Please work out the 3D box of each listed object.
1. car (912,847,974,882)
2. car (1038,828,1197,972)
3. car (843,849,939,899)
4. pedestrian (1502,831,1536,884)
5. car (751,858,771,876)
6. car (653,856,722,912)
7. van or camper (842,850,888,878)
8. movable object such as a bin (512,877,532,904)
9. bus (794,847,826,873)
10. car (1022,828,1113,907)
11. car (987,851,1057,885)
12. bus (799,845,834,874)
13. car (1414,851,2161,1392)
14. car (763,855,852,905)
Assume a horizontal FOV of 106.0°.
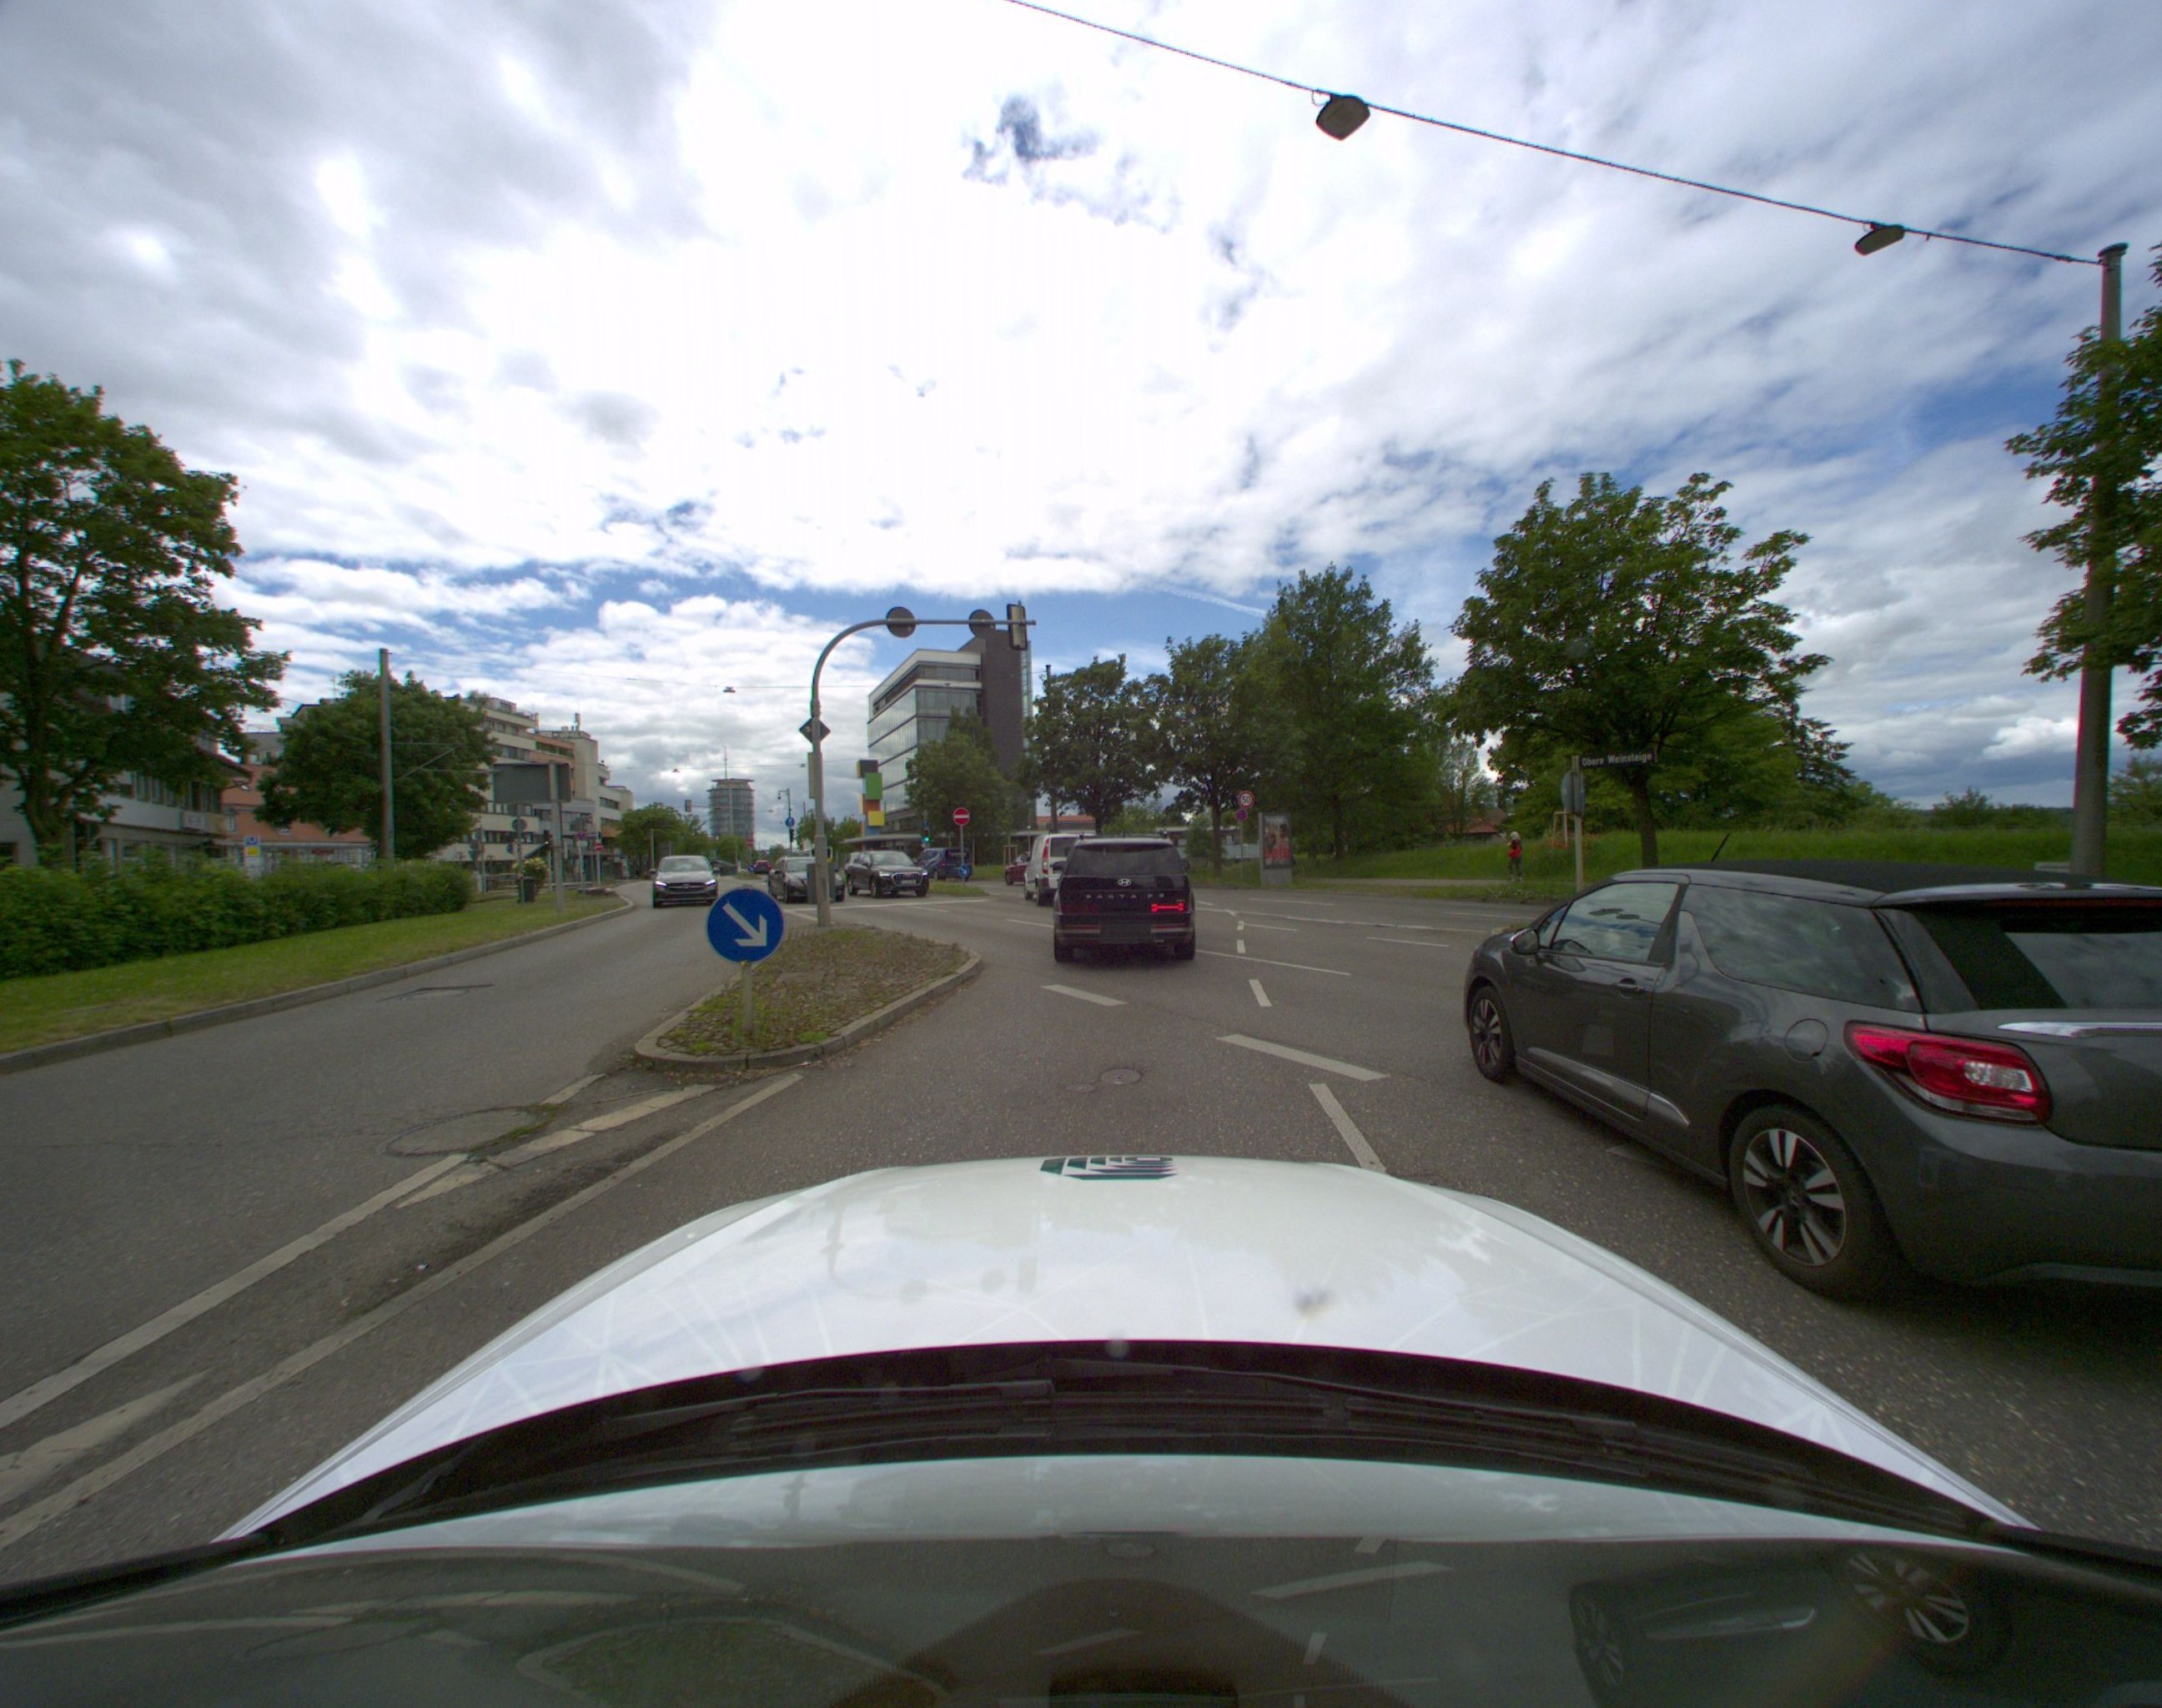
[{"bbox_3d":[-7.812,0.566,45.792,1.914,1.859,4.664,0,0,-30],"label":"car"},{"bbox_3d":[0.749,0.560,12.138,1.891,1.731,4.457,-1,0,9],"label":"car"},{"bbox_3d":[-6.700,0.628,28.341,1.901,1.564,4.350,-1,1,-33],"label":"car"},{"bbox_3d":[13.658,0.106,25.391,0.545,1.603,0.695,-7,4,-32],"label":"pedestrian"},{"bbox_3d":[-36.075,1.429,91.777,1.911,1.859,4.671,0,0,-25],"label":"car"},{"bbox_3d":[-12.176,0.848,25.364,1.791,1.537,4.360,-1,1,-24],"label":"car"},{"bbox_3d":[-15.638,0.675,58.846,2.007,1.917,4.364,-1,1,-32],"label":"van or camper"},{"bbox_3d":[-21.893,1.421,31.921,0.567,1.012,0.830,-2,0,-30],"label":"movable object such as a bin"},{"bbox_3d":[-35.178,0.829,105.444,2.965,3.111,9.898,-3,0,-23],"label":"bus"},{"bbox_3d":[-0.491,0.324,22.727,1.902,1.969,4.621,0,0,-9],"label":"car"},{"bbox_3d":[-2.776,0.624,37.611,1.756,1.481,3.683,-1,0,-30],"label":"car"},{"bbox_3d":[-31.481,0.679,96.760,2.980,3.116,9.171,-3,0,-23],"label":"bus"},{"bbox_3d":[3.345,0.725,4.238,1.694,1.461,4.064,-1,0,2],"label":"car"},{"bbox_3d":[-8.847,0.764,26.107,1.795,1.425,4.353,-1,1,-31],"label":"car"}]
